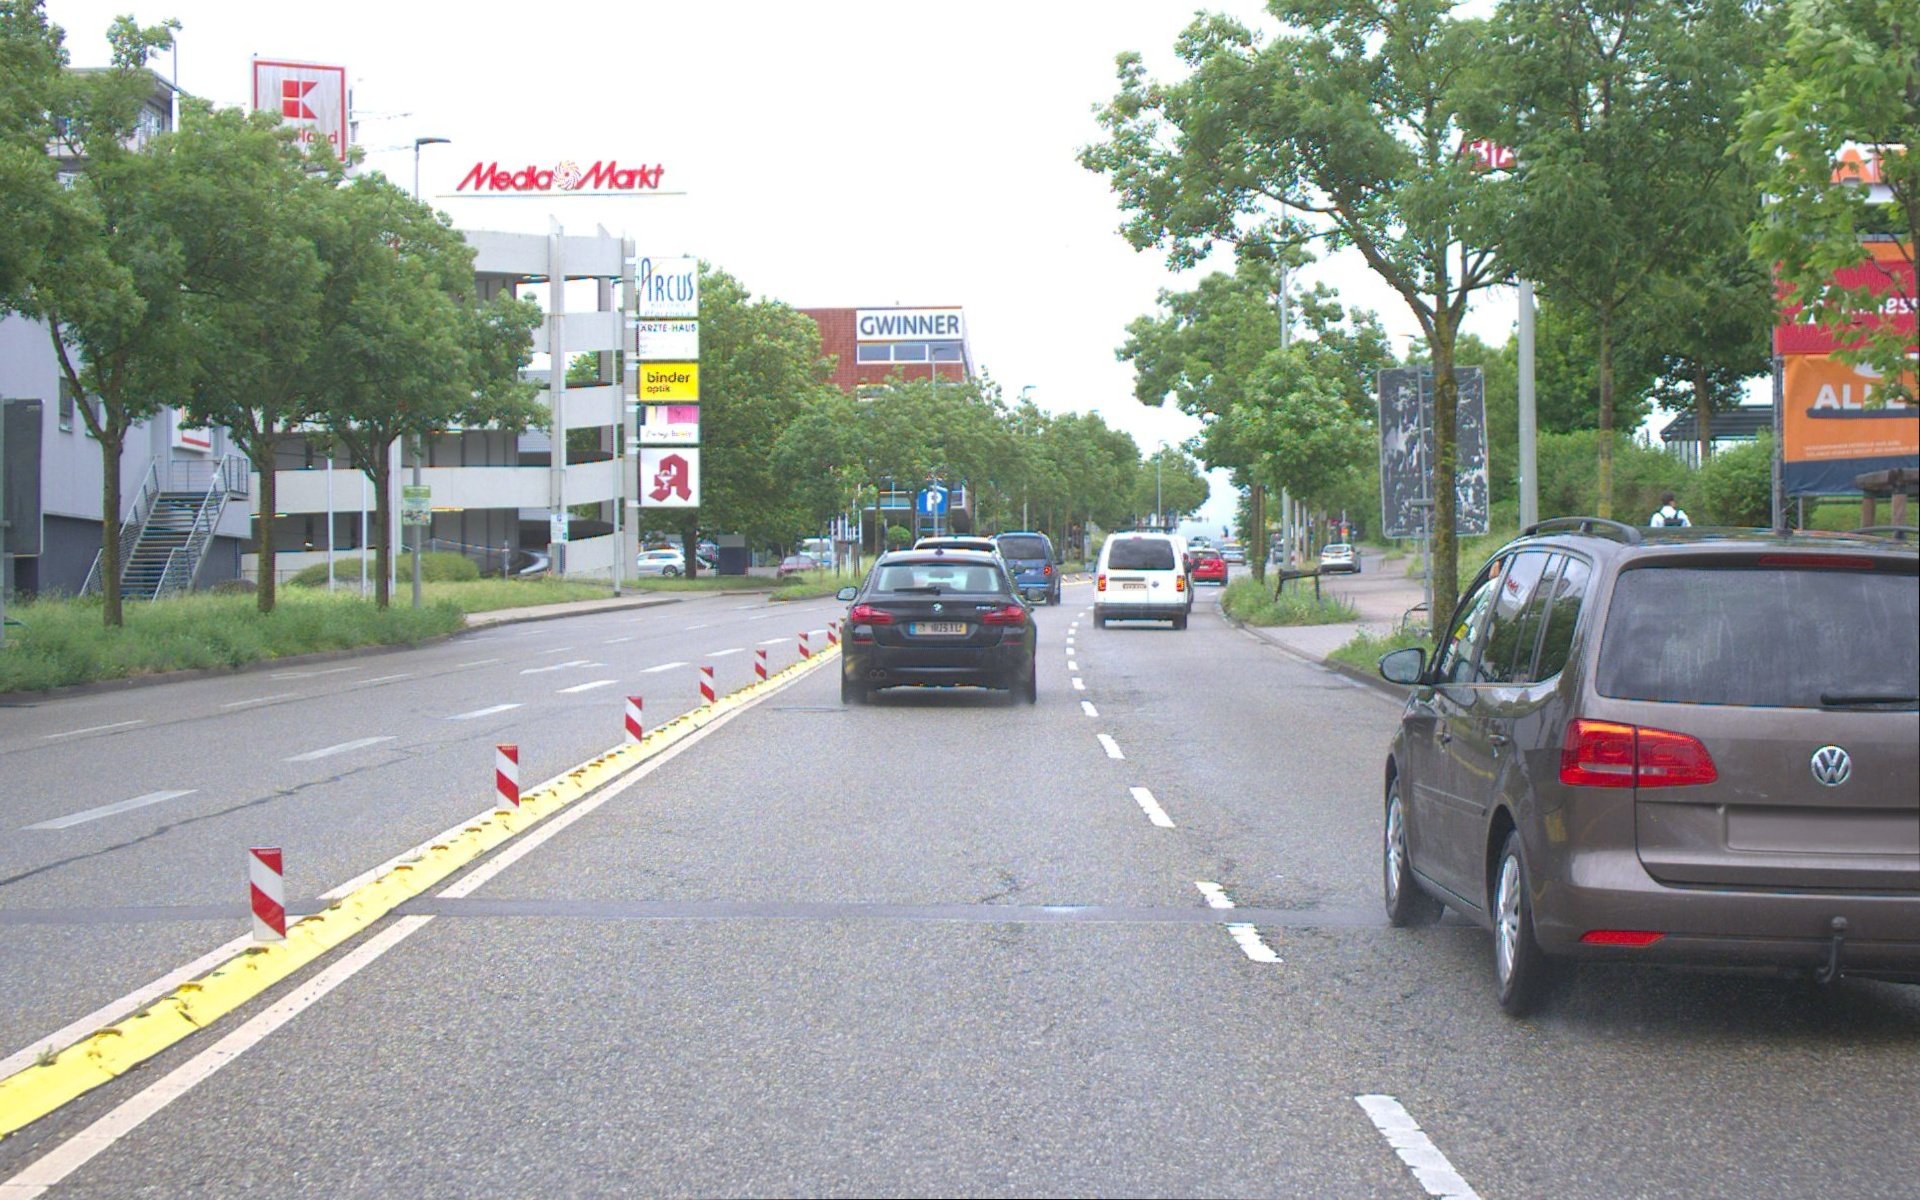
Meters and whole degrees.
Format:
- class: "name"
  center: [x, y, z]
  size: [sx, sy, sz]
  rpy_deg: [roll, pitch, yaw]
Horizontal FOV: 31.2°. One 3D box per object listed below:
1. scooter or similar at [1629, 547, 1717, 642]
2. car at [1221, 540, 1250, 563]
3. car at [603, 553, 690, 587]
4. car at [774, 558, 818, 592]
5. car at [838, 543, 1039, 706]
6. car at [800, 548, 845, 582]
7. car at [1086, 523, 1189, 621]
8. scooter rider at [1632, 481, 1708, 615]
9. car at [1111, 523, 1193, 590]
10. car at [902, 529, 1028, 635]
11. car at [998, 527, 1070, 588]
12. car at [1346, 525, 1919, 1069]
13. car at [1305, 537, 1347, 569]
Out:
- class: "scooter or similar"
  center: [10.003, -0.073, 48.253]
  size: [0.694, 1.259, 1.401]
  rpy_deg: [-2, -2, -9]
- class: "car"
  center: [18.401, -3.227, 229.821]
  size: [1.794, 1.505, 4.000]
  rpy_deg: [2, 0, 3]
- class: "car"
  center: [-17.099, -1.654, 187.595]
  size: [4.598, 1.740, 1.967]
  rpy_deg: [1, 2, -1]
- class: "car"
  center: [-8.658, -1.345, 182.157]
  size: [1.933, 1.603, 4.711]
  rpy_deg: [1, 2, 2]
- class: "car"
  center: [-0.187, 0.190, 33.448]
  size: [1.827, 1.463, 4.000]
  rpy_deg: [0, 1, 0]
- class: "car"
  center: [-7.867, -2.003, 196.483]
  size: [2.039, 1.756, 4.945]
  rpy_deg: [1, 2, 4]
- class: "car"
  center: [3.348, -0.562, 65.139]
  size: [1.827, 1.753, 4.000]
  rpy_deg: [2, 1, 3]
- class: "scooter rider"
  center: [9.968, -0.720, 48.287]
  size: [0.694, 1.814, 0.858]
  rpy_deg: [-2, -2, -9]
- class: "car"
  center: [4.531, -1.014, 81.522]
  size: [1.794, 1.505, 4.000]
  rpy_deg: [2, 0, 2]
- class: "car"
  center: [0.113, -0.282, 52.416]
  size: [1.794, 1.505, 4.000]
  rpy_deg: [2, 0, 1]
- class: "car"
  center: [1.942, -1.102, 89.385]
  size: [1.794, 1.505, 4.000]
  rpy_deg: [2, 0, 2]
- class: "car"
  center: [2.511, 0.548, 12.366]
  size: [1.685, 1.575, 4.219]
  rpy_deg: [1, 2, -1]
- class: "car"
  center: [18.012, -2.302, 169.142]
  size: [1.794, 1.505, 4.000]
  rpy_deg: [2, 0, 3]
